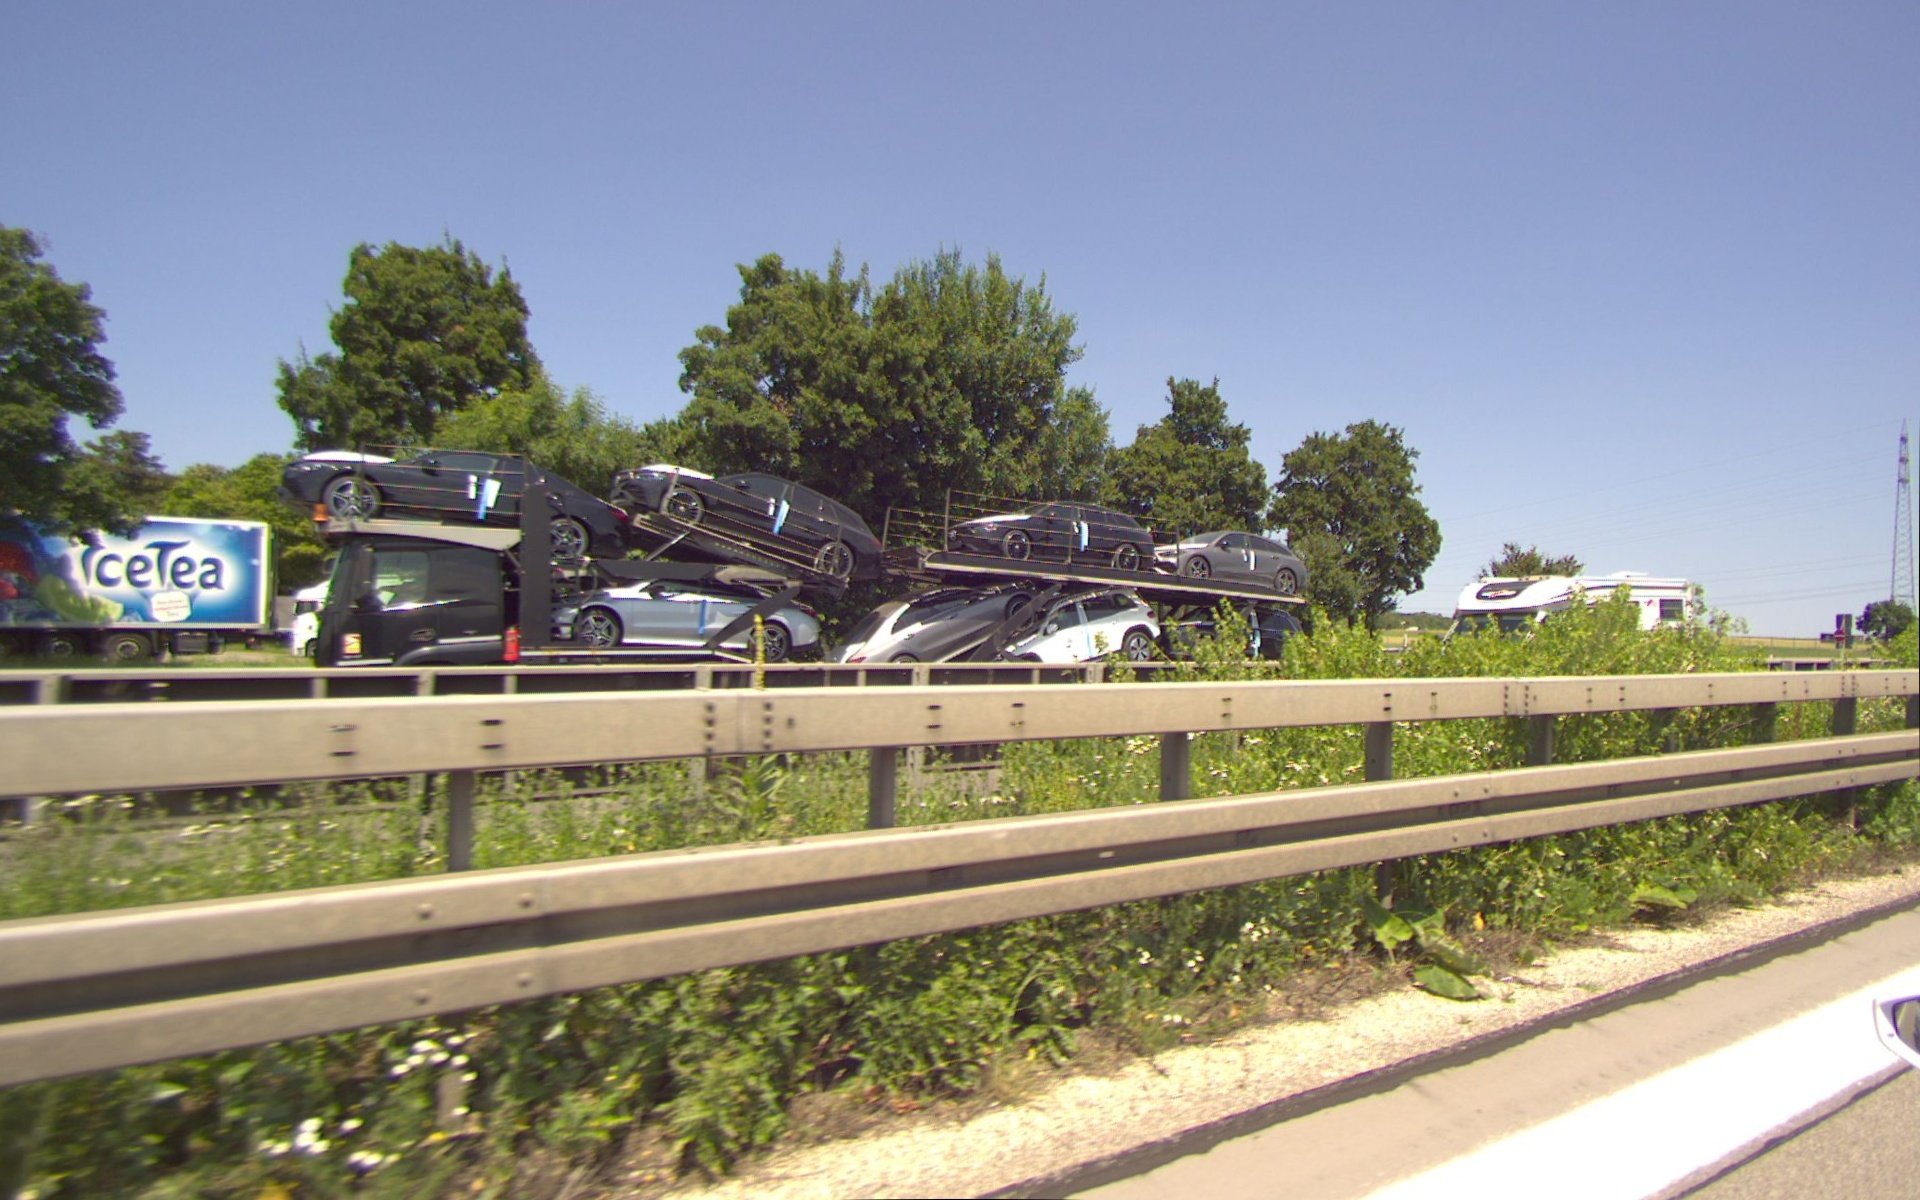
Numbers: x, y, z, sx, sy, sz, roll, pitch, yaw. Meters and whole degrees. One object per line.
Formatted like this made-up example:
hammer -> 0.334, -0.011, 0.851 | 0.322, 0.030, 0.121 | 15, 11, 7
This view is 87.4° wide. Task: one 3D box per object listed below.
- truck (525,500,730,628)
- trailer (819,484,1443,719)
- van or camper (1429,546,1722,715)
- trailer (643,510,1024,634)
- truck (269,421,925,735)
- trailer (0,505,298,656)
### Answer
truck -> -11.134, -1.098, 33.757 | 6.028, 3.833, 2.783 | 2, 0, -30
trailer -> 4.514, 0.265, 21.608 | 15.004, 3.898, 2.672 | 2, 0, -31
van or camper -> 13.987, 0.750, 22.655 | 7.289, 3.310, 2.512 | 2, -3, -31
trailer -> -4.286, -0.811, 37.798 | 14.244, 3.829, 2.754 | 2, 0, -31
truck -> -5.208, -0.133, 15.829 | 9.047, 3.870, 2.663 | 2, 0, -31
trailer -> -22.916, -0.450, 26.772 | 8.618, 3.710, 2.531 | 2, 0, -32
